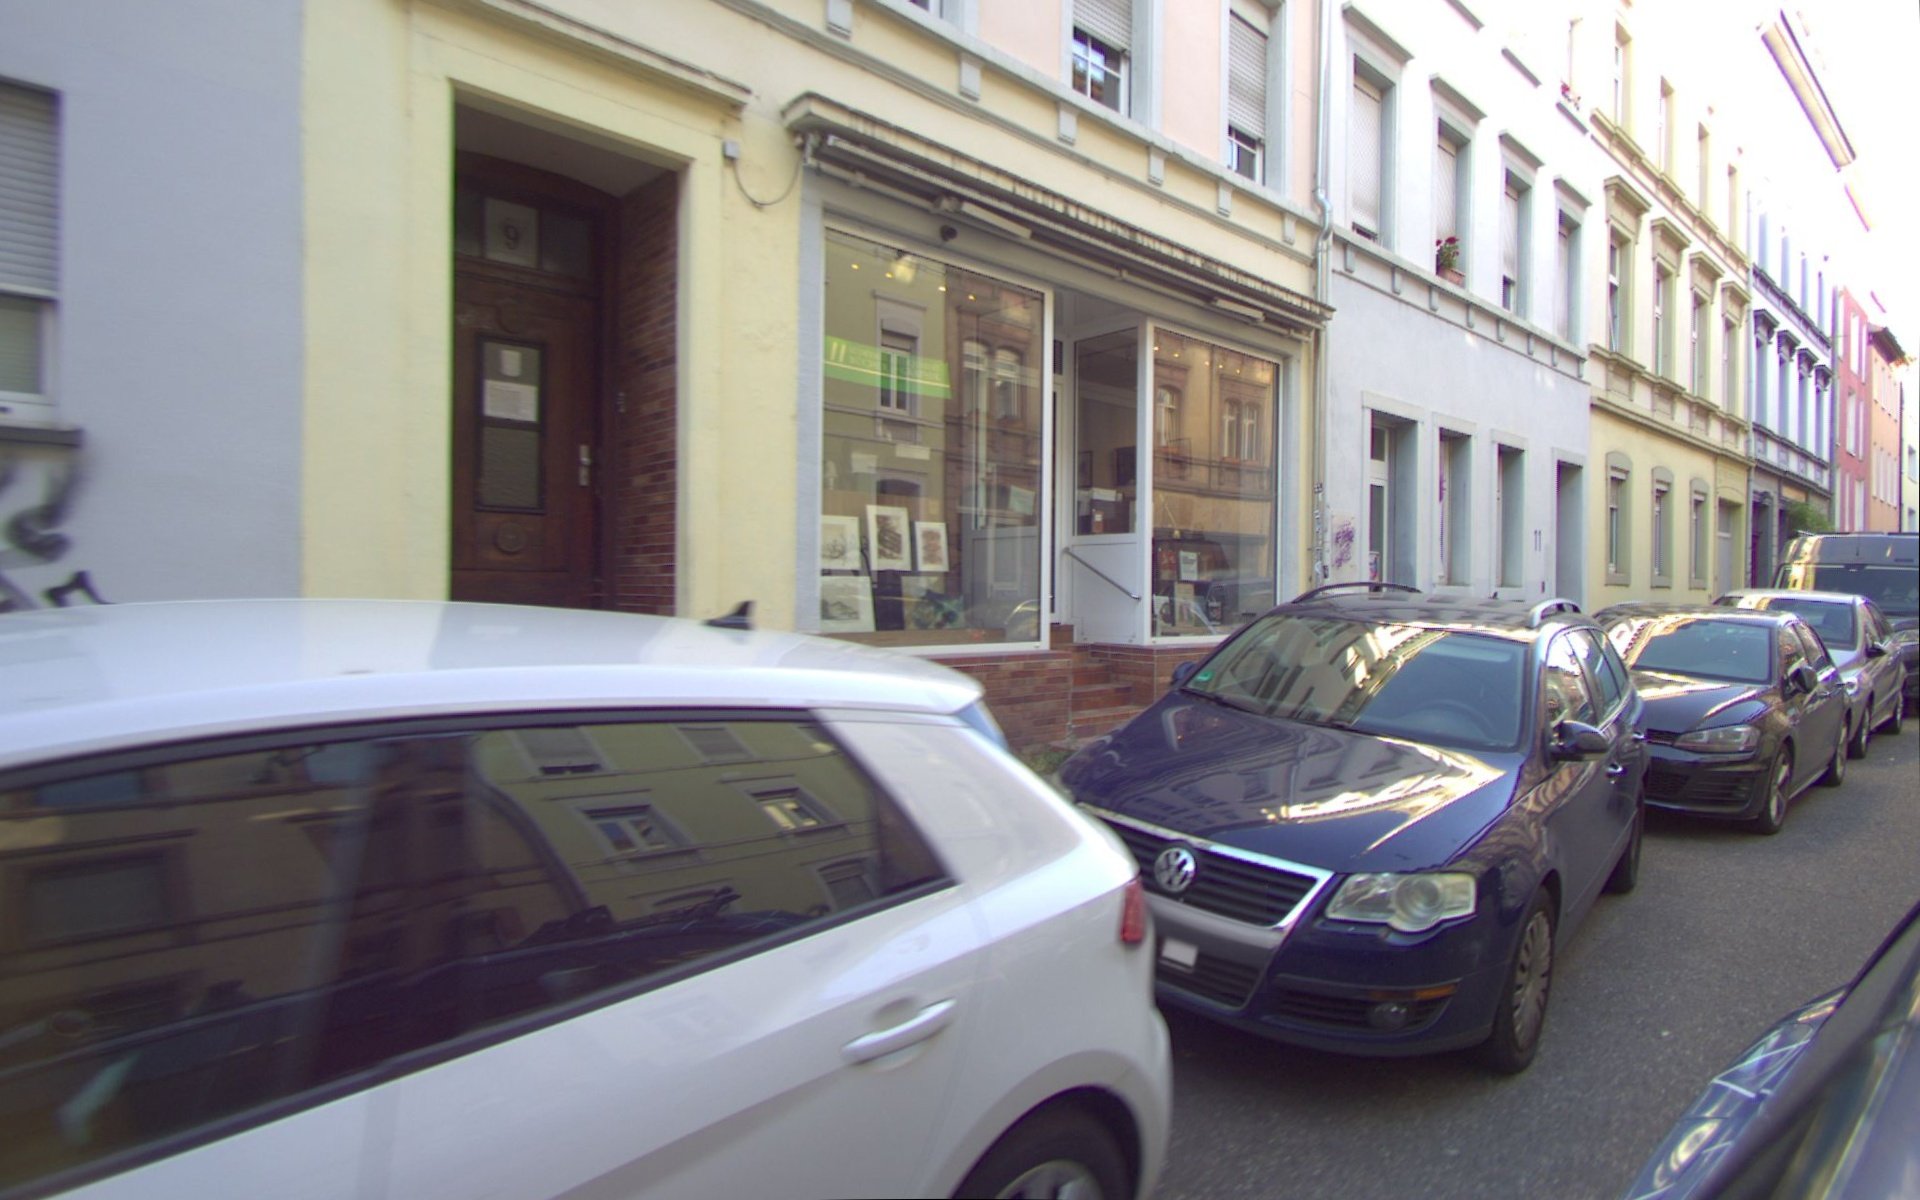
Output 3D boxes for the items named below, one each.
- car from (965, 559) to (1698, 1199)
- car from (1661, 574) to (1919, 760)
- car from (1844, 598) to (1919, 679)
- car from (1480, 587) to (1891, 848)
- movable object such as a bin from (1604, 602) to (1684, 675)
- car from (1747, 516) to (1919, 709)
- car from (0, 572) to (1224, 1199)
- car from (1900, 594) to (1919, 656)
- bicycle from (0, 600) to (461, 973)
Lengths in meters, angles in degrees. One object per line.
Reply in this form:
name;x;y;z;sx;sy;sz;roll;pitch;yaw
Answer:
car;2.172;0.674;4.772;1.809;1.496;4.543;5;3;39
car;9.416;0.589;11.215;4.299;1.627;1.697;0;3;-42
car;18.939;0.699;19.969;4.099;1.462;1.750;0;0;-41
car;5.856;0.678;7.965;4.169;1.504;1.749;0;1;-42
movable object such as a bin;10.847;0.596;16.050;0.696;1.055;0.864;0;3;-43
car;14.089;0.125;15.420;6.200;2.455;2.179;0;2;-42
car;-1.445;0.689;1.362;3.767;1.447;1.727;0;1;-43
car;24.978;0.646;25.259;4.469;1.472;1.790;0;4;-42
bicycle;-3.152;0.610;3.666;2.311;1.172;0.629;0;4;-41
